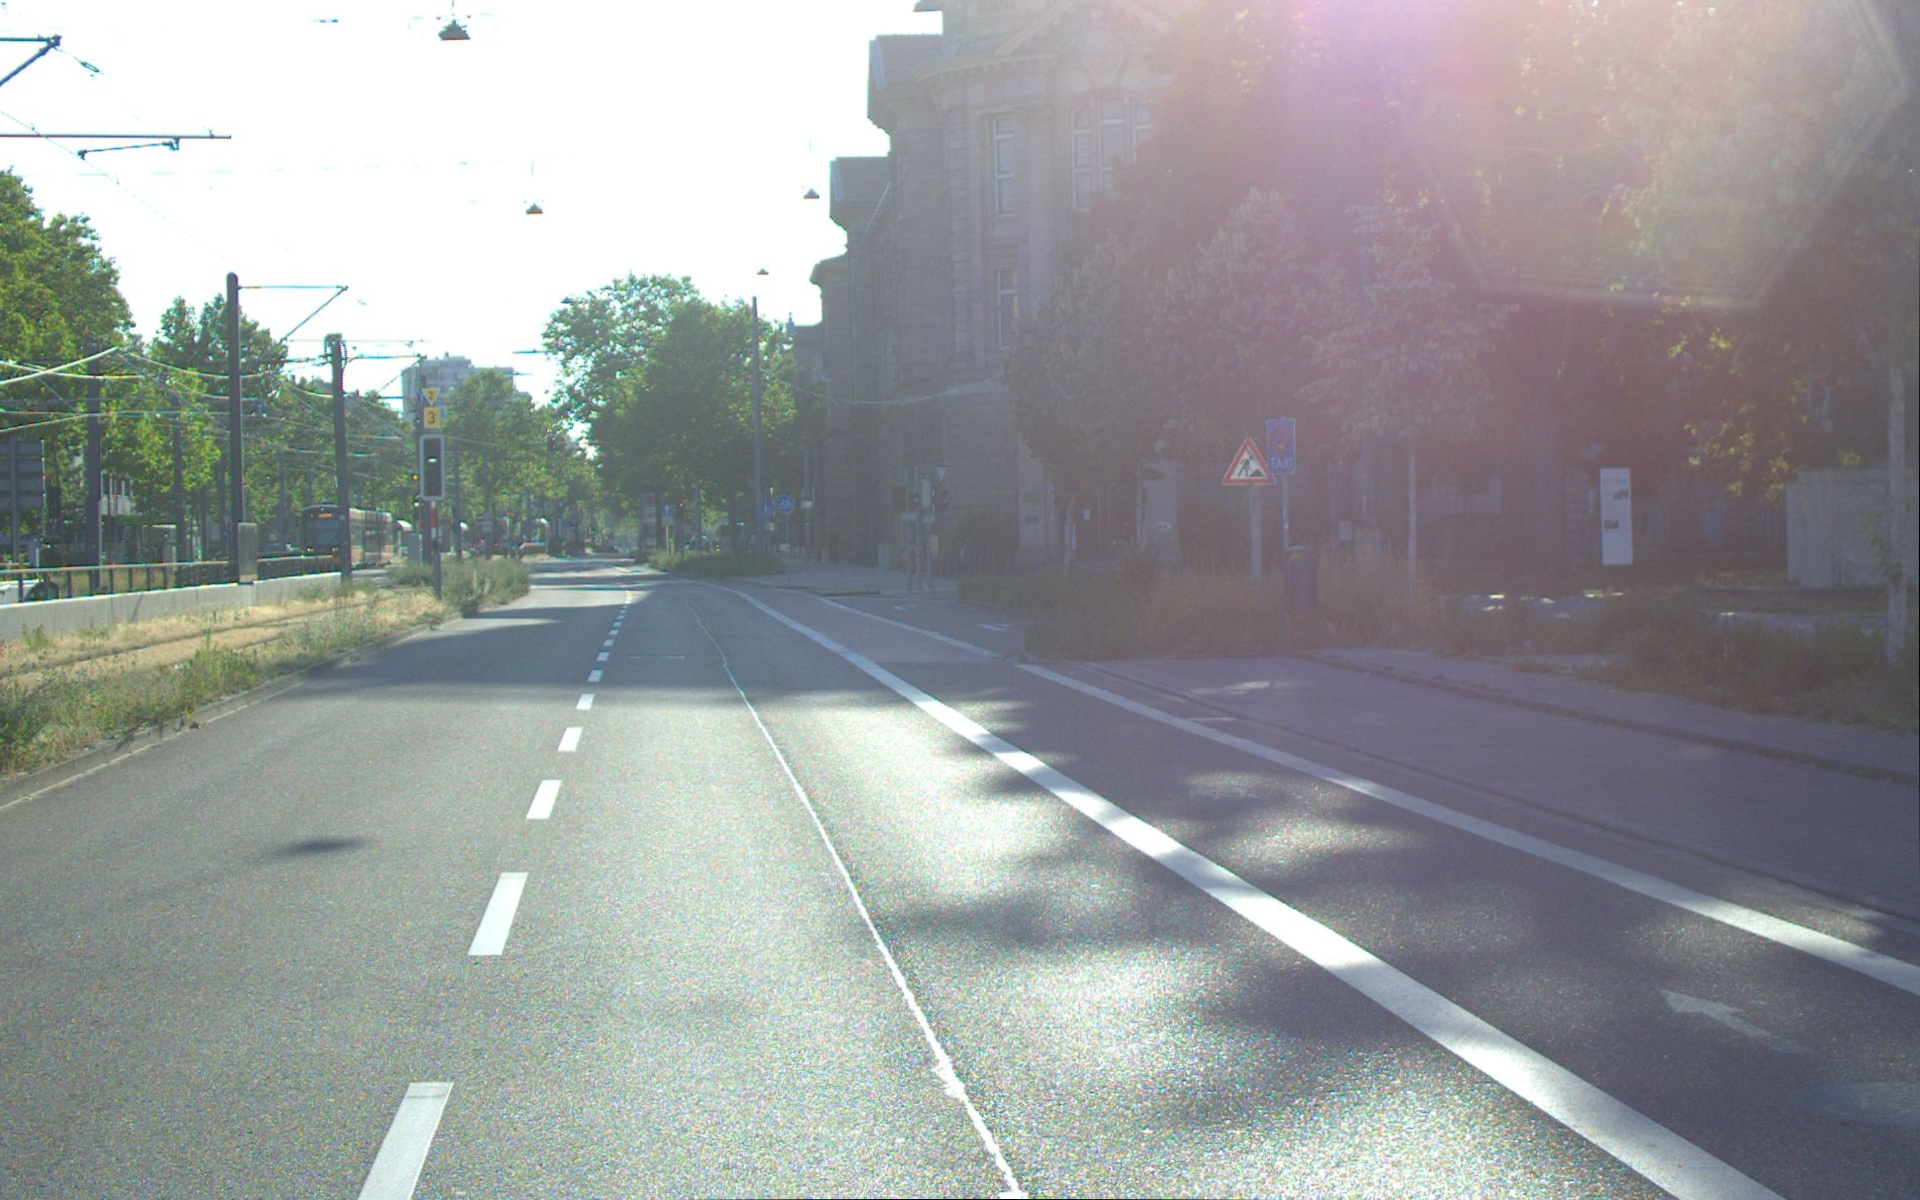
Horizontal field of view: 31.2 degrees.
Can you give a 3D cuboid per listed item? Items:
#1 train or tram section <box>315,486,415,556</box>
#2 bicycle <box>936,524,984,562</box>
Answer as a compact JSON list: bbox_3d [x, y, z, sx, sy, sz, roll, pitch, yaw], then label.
[{"bbox_3d":[-31.990,-4.242,185.514,3.112,3.547,17.481,-2,1,-3],"label":"train or tram section"},{"bbox_3d":[0.016,-1.858,112.526,0.867,1.192,2.237,-1,1,18],"label":"bicycle"}]
